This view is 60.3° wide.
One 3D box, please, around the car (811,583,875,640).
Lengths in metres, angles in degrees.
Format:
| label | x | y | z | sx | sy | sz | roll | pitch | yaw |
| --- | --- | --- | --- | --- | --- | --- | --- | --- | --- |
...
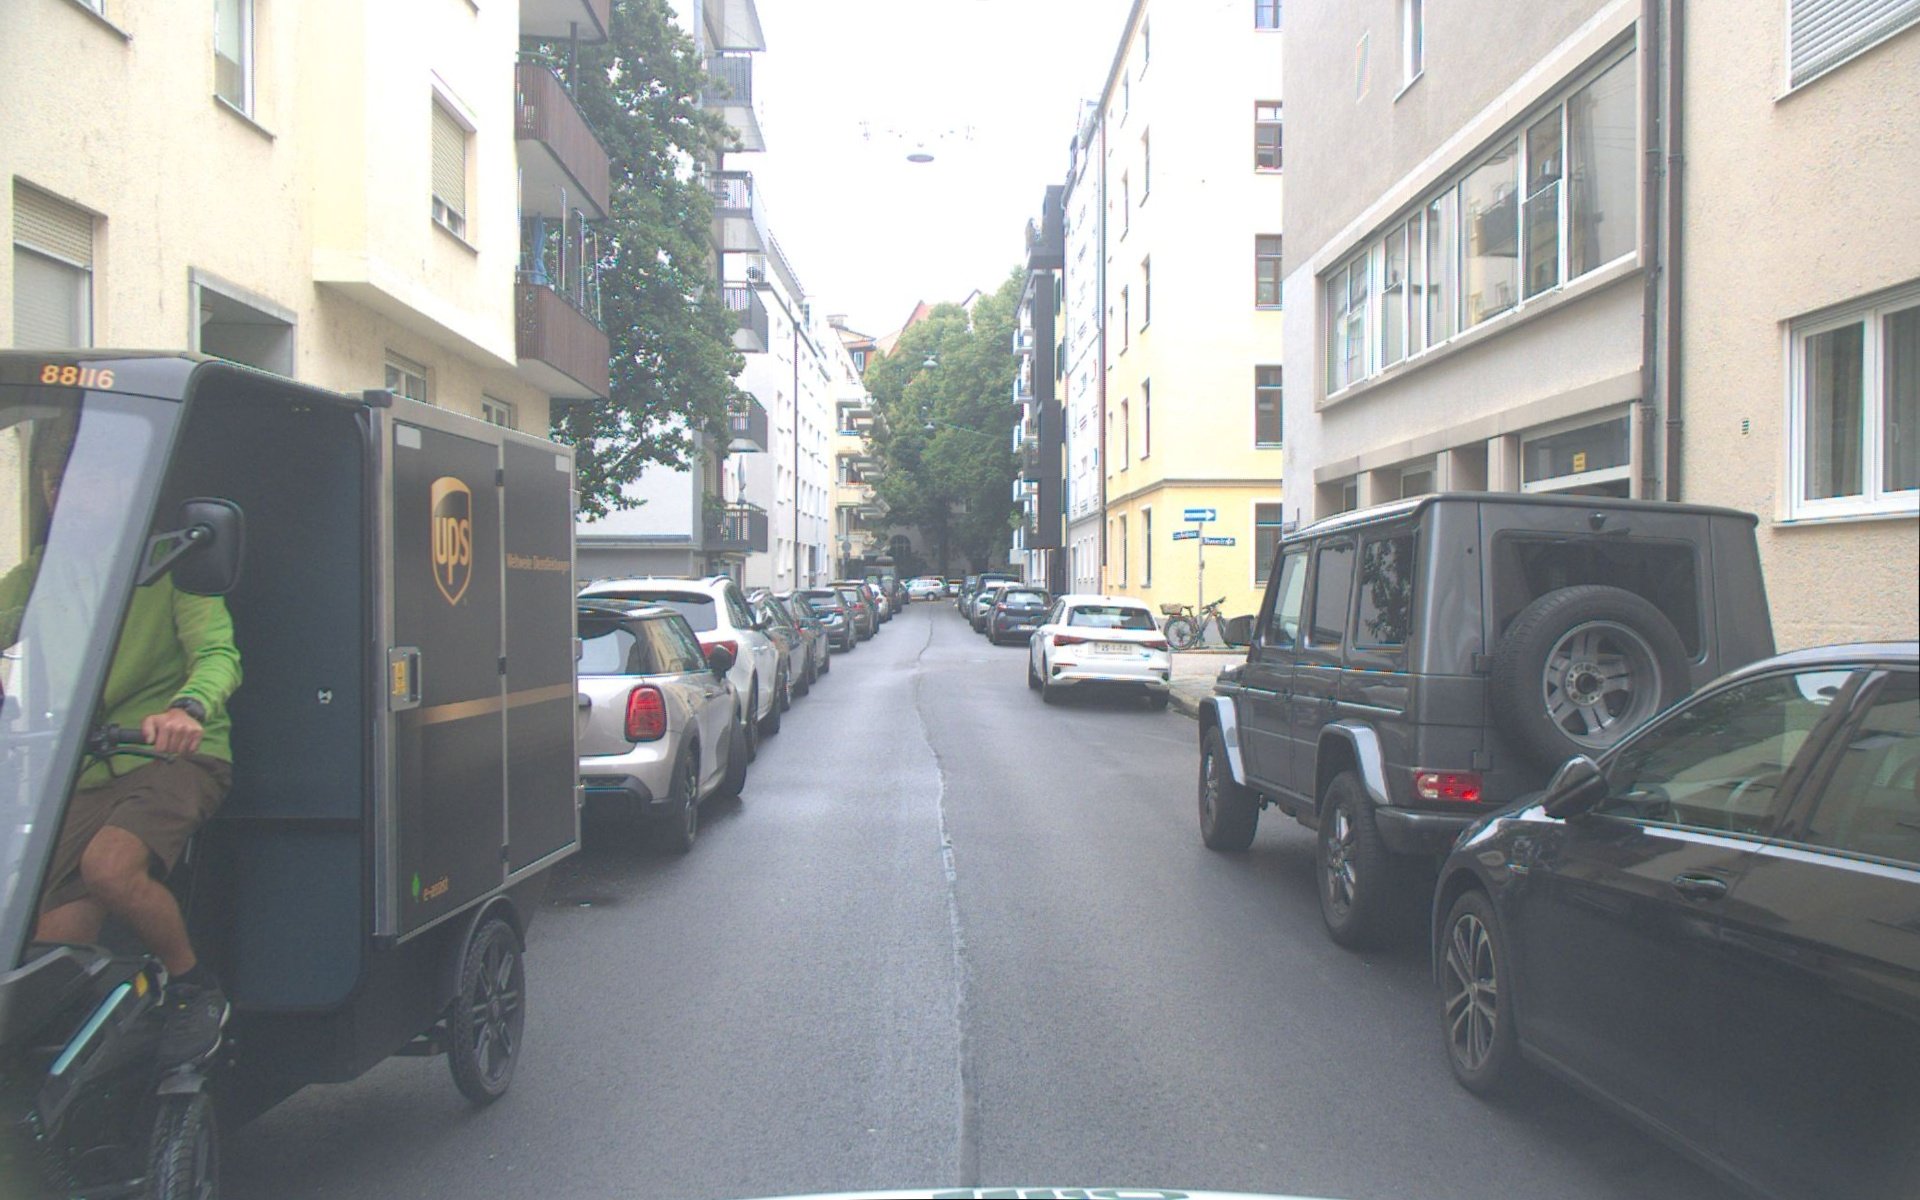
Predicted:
| label | x | y | z | sx | sy | sz | roll | pitch | yaw |
| --- | --- | --- | --- | --- | --- | --- | --- | --- | --- |
| car | -3.223 | 0.279 | 46.144 | 1.659 | 1.467 | 3.975 | -1 | 1 | -3 |

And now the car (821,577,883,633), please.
| label | x | y | z | sx | sy | sz | roll | pitch | yaw |
| --- | --- | --- | --- | --- | --- | --- | --- | --- | --- |
| car | -3.365 | 0.136 | 52.183 | 1.741 | 1.657 | 4.413 | -1 | 1 | -2 |

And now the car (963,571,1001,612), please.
| label | x | y | z | sx | sy | sz | roll | pitch | yaw |
| --- | --- | --- | --- | --- | --- | --- | --- | --- | --- |
| car | 1.137 | -0.461 | 88.376 | 1.792 | 2.034 | 4.414 | 3 | 0 | -2 |

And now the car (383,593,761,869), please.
| label | x | y | z | sx | sy | sz | roll | pitch | yaw |
| --- | --- | --- | --- | --- | --- | --- | --- | --- | --- |
| car | -2.318 | 0.698 | 10.820 | 1.618 | 1.461 | 3.802 | -1 | 0 | -1 |

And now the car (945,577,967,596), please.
| label | x | y | z | sx | sy | sz | roll | pitch | yaw |
| --- | --- | --- | --- | --- | --- | --- | --- | --- | --- |
| car | -0.353 | -1.049 | 130.540 | 1.609 | 1.407 | 3.745 | -3 | 1 | -2 |

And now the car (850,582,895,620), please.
| label | x | y | z | sx | sy | sz | roll | pitch | yaw |
| --- | --- | --- | --- | --- | --- | --- | --- | --- | --- |
| car | -3.707 | 0.014 | 70.420 | 1.741 | 1.478 | 4.045 | -3 | 1 | -2 |

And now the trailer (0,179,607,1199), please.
| label | x | y | z | sx | sy | sz | roll | pitch | yaw |
| --- | --- | --- | --- | --- | --- | --- | --- | --- | --- |
| trailer | -1.981 | 0.406 | 4.301 | 1.327 | 2.153 | 3.318 | 0 | 0 | 1 |

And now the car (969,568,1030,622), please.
| label | x | y | z | sx | sy | sz | roll | pitch | yaw |
| --- | --- | --- | --- | --- | --- | --- | --- | --- | --- |
| car | 1.229 | -0.193 | 53.540 | 1.648 | 1.595 | 4.414 | 2 | 1 | -2 |

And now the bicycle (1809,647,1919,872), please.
| label | x | y | z | sx | sy | sz | roll | pitch | yaw |
| --- | --- | --- | --- | --- | --- | --- | --- | --- | --- |
| bicycle | 5.055 | 0.806 | 8.227 | 0.631 | 1.046 | 1.796 | -4 | 0 | -2 |

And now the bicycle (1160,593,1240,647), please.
| label | x | y | z | sx | sy | sz | roll | pitch | yaw |
| --- | --- | --- | --- | --- | --- | --- | --- | --- | --- |
| bicycle | 5.606 | 0.472 | 38.728 | 1.772 | 1.194 | 0.505 | -1 | 2 | -3 |

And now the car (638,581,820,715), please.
| label | x | y | z | sx | sy | sz | roll | pitch | yaw |
| --- | --- | --- | --- | --- | --- | --- | --- | --- | --- |
| car | -2.901 | 0.538 | 21.638 | 1.729 | 1.509 | 4.424 | -1 | 1 | 0 |

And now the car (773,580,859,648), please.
| label | x | y | z | sx | sy | sz | roll | pitch | yaw |
| --- | --- | --- | --- | --- | --- | --- | --- | --- | --- |
| car | -3.298 | 0.290 | 38.493 | 1.658 | 1.467 | 3.942 | -1 | 1 | -1 |

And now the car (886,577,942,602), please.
| label | x | y | z | sx | sy | sz | roll | pitch | yaw |
| --- | --- | --- | --- | --- | --- | --- | --- | --- | --- |
| car | -3.216 | -0.738 | 115.592 | 3.808 | 1.612 | 1.647 | -3 | 1 | -3 |

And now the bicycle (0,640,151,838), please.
| label | x | y | z | sx | sy | sz | roll | pitch | yaw |
| --- | --- | --- | --- | --- | --- | --- | --- | --- | --- |
| bicycle | -5.498 | 0.776 | 9.827 | 0.503 | 1.016 | 1.859 | 2 | 0 | -3 |

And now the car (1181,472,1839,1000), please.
| label | x | y | z | sx | sy | sz | roll | pitch | yaw |
| --- | --- | --- | --- | --- | --- | --- | --- | --- | --- |
| car | 2.455 | 0.510 | 8.650 | 1.716 | 2.010 | 4.340 | 2 | 1 | -3 |

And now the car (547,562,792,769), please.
| label | x | y | z | sx | sy | sz | roll | pitch | yaw |
| --- | --- | --- | --- | --- | --- | --- | --- | --- | --- |
| car | -2.654 | 0.538 | 16.061 | 1.730 | 1.704 | 4.365 | -1 | 0 | -2 |

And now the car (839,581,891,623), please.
| label | x | y | z | sx | sy | sz | roll | pitch | yaw |
| --- | --- | --- | --- | --- | --- | --- | --- | --- | --- |
| car | -3.689 | 0.047 | 64.958 | 1.741 | 1.512 | 4.519 | -3 | 1 | -1 |

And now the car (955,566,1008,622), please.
| label | x | y | z | sx | sy | sz | roll | pitch | yaw |
| --- | --- | --- | --- | --- | --- | --- | --- | --- | --- |
| car | 0.755 | -0.246 | 61.148 | 1.792 | 1.943 | 4.415 | 2 | 1 | -1 |

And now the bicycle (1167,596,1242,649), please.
| label | x | y | z | sx | sy | sz | roll | pitch | yaw |
| --- | --- | --- | --- | --- | --- | --- | --- | --- | --- |
| bicycle | 5.646 | 0.507 | 38.218 | 1.679 | 1.159 | 0.374 | -1 | 2 | -2 |

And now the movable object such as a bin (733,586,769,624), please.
| label | x | y | z | sx | sy | sz | roll | pitch | yaw |
| --- | --- | --- | --- | --- | --- | --- | --- | --- | --- |
| movable object such as a bin | -7.754 | 0.173 | 61.375 | 1.142 | 1.360 | 1.025 | -2 | 0 | 2 |

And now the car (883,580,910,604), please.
| label | x | y | z | sx | sy | sz | roll | pitch | yaw |
| --- | --- | --- | --- | --- | --- | --- | --- | --- | --- |
| car | -3.955 | -0.497 | 103.647 | 1.609 | 1.407 | 3.481 | -3 | 1 | -2 |

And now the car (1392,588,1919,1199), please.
| label | x | y | z | sx | sy | sz | roll | pitch | yaw |
| --- | --- | --- | --- | --- | --- | --- | --- | --- | --- |
| car | 2.531 | 0.751 | 3.913 | 1.677 | 1.512 | 4.241 | 1 | 0 | -3 |

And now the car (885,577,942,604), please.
| label | x | y | z | sx | sy | sz | roll | pitch | yaw |
| --- | --- | --- | --- | --- | --- | --- | --- | --- | --- |
| car | -3.203 | -0.659 | 113.617 | 3.808 | 1.612 | 1.647 | -3 | 1 | -3 |

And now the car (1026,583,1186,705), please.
| label | x | y | z | sx | sy | sz | roll | pitch | yaw |
| --- | --- | --- | --- | --- | --- | --- | --- | --- | --- |
| car | 1.995 | 0.562 | 23.672 | 1.782 | 1.432 | 3.952 | 1 | 3 | -2 |

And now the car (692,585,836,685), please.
| label | x | y | z | sx | sy | sz | roll | pitch | yaw |
| --- | --- | --- | --- | --- | --- | --- | --- | --- | --- |
| car | -3.082 | 0.507 | 26.814 | 1.818 | 1.433 | 4.382 | -1 | 1 | -1 |

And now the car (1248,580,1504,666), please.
| label | x | y | z | sx | sy | sz | roll | pitch | yaw |
| --- | --- | --- | --- | --- | --- | --- | --- | --- | --- |
| car | 7.514 | 0.386 | 30.150 | 4.121 | 1.424 | 1.999 | 0 | 2 | -5 |

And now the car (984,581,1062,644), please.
| label | x | y | z | sx | sy | sz | roll | pitch | yaw |
| --- | --- | --- | --- | --- | --- | --- | --- | --- | --- |
| car | 1.605 | 0.298 | 43.568 | 1.715 | 1.495 | 4.342 | 2 | 1 | -2 |

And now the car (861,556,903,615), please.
| label | x | y | z | sx | sy | sz | roll | pitch | yaw |
| --- | --- | --- | --- | --- | --- | --- | --- | --- | --- |
| car | -3.981 | -0.751 | 84.996 | 1.897 | 2.850 | 4.531 | -3 | 1 | -2 |
